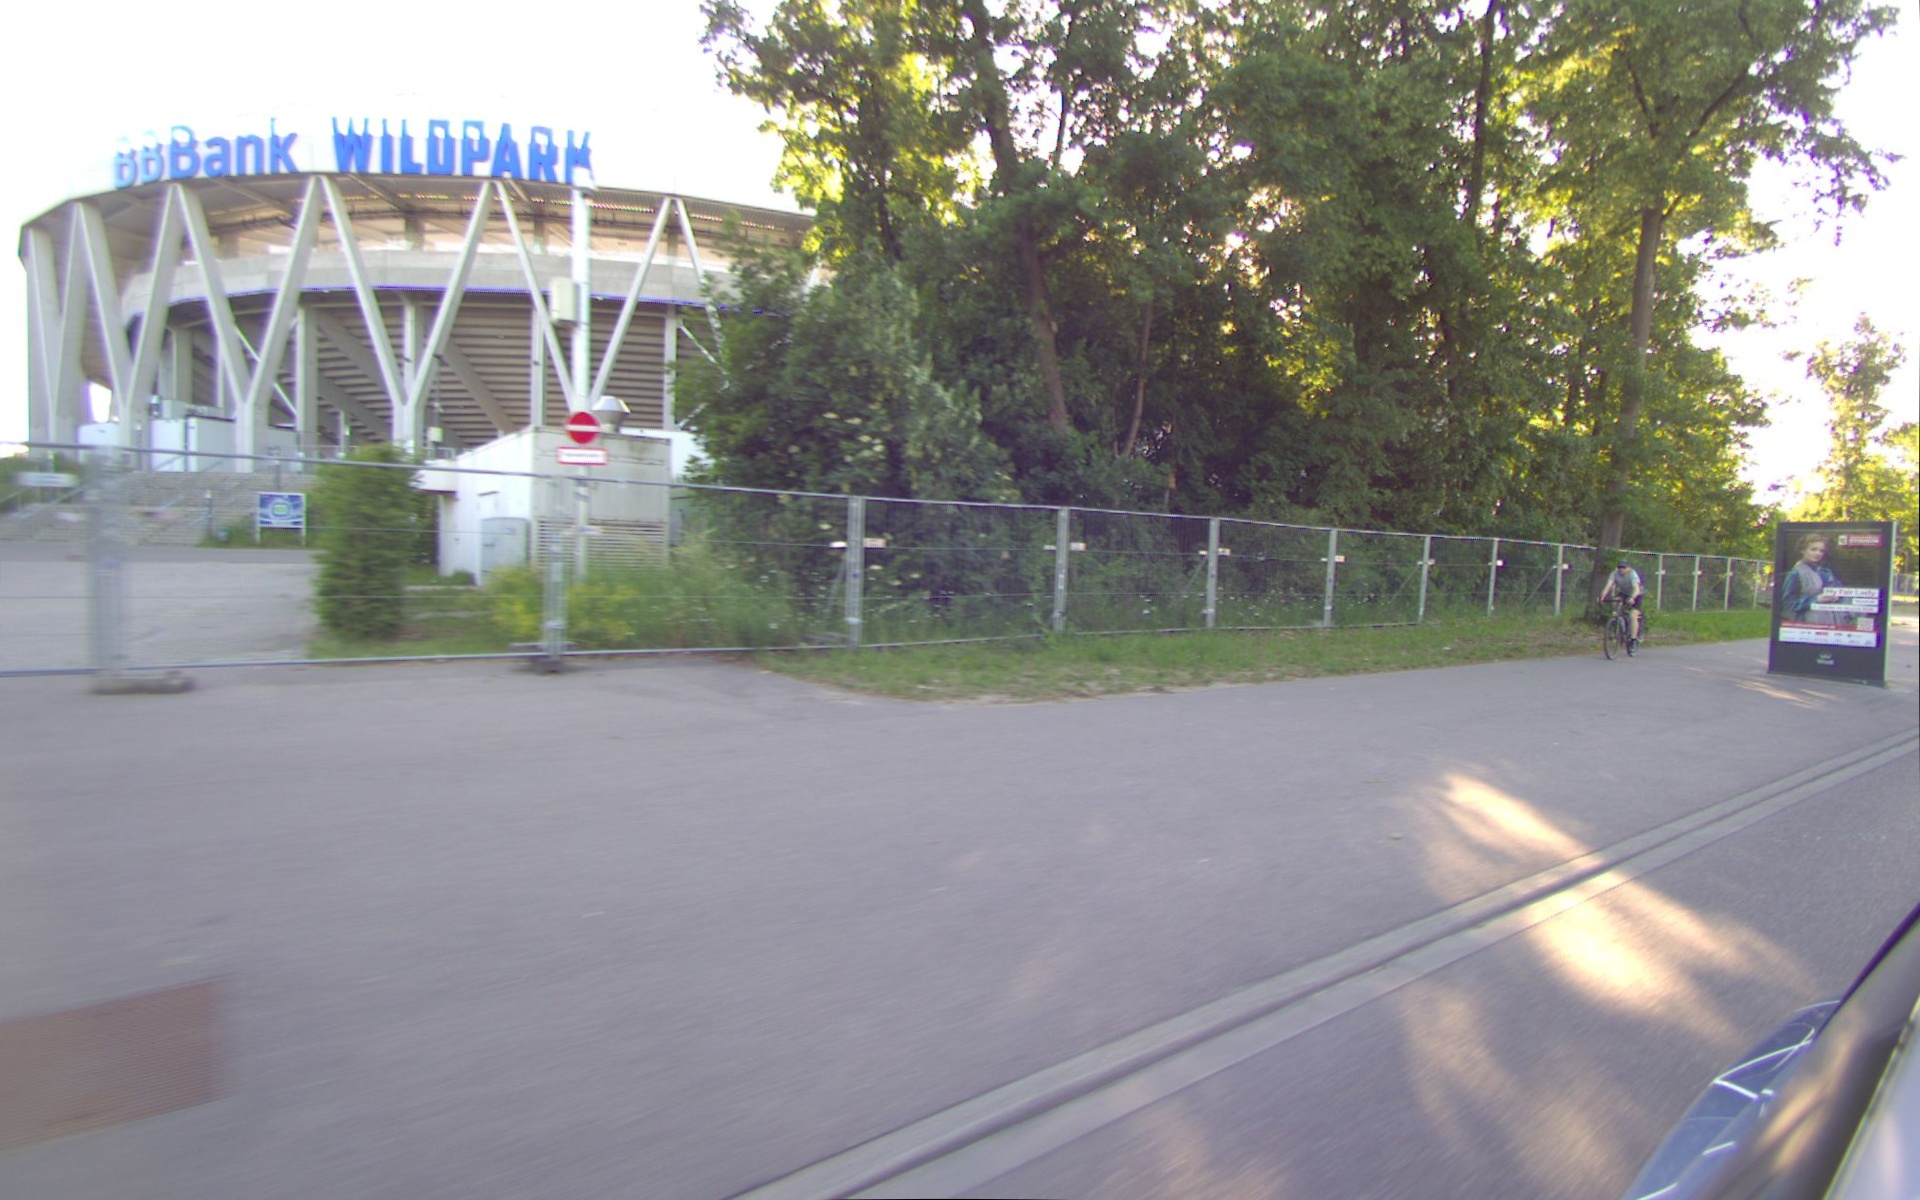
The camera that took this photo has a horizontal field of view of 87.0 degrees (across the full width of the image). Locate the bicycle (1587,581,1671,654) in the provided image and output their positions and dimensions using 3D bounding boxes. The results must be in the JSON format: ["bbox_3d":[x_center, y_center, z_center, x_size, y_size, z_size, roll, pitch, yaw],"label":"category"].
[{"bbox_3d":[11.435,0.269,17.279,1.830,1.150,0.556,-1,6,-39],"label":"bicycle"}]

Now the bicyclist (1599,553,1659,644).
[{"bbox_3d":[11.377,-0.037,17.217,0.845,1.486,0.522,-1,5,-38],"label":"bicyclist"}]
